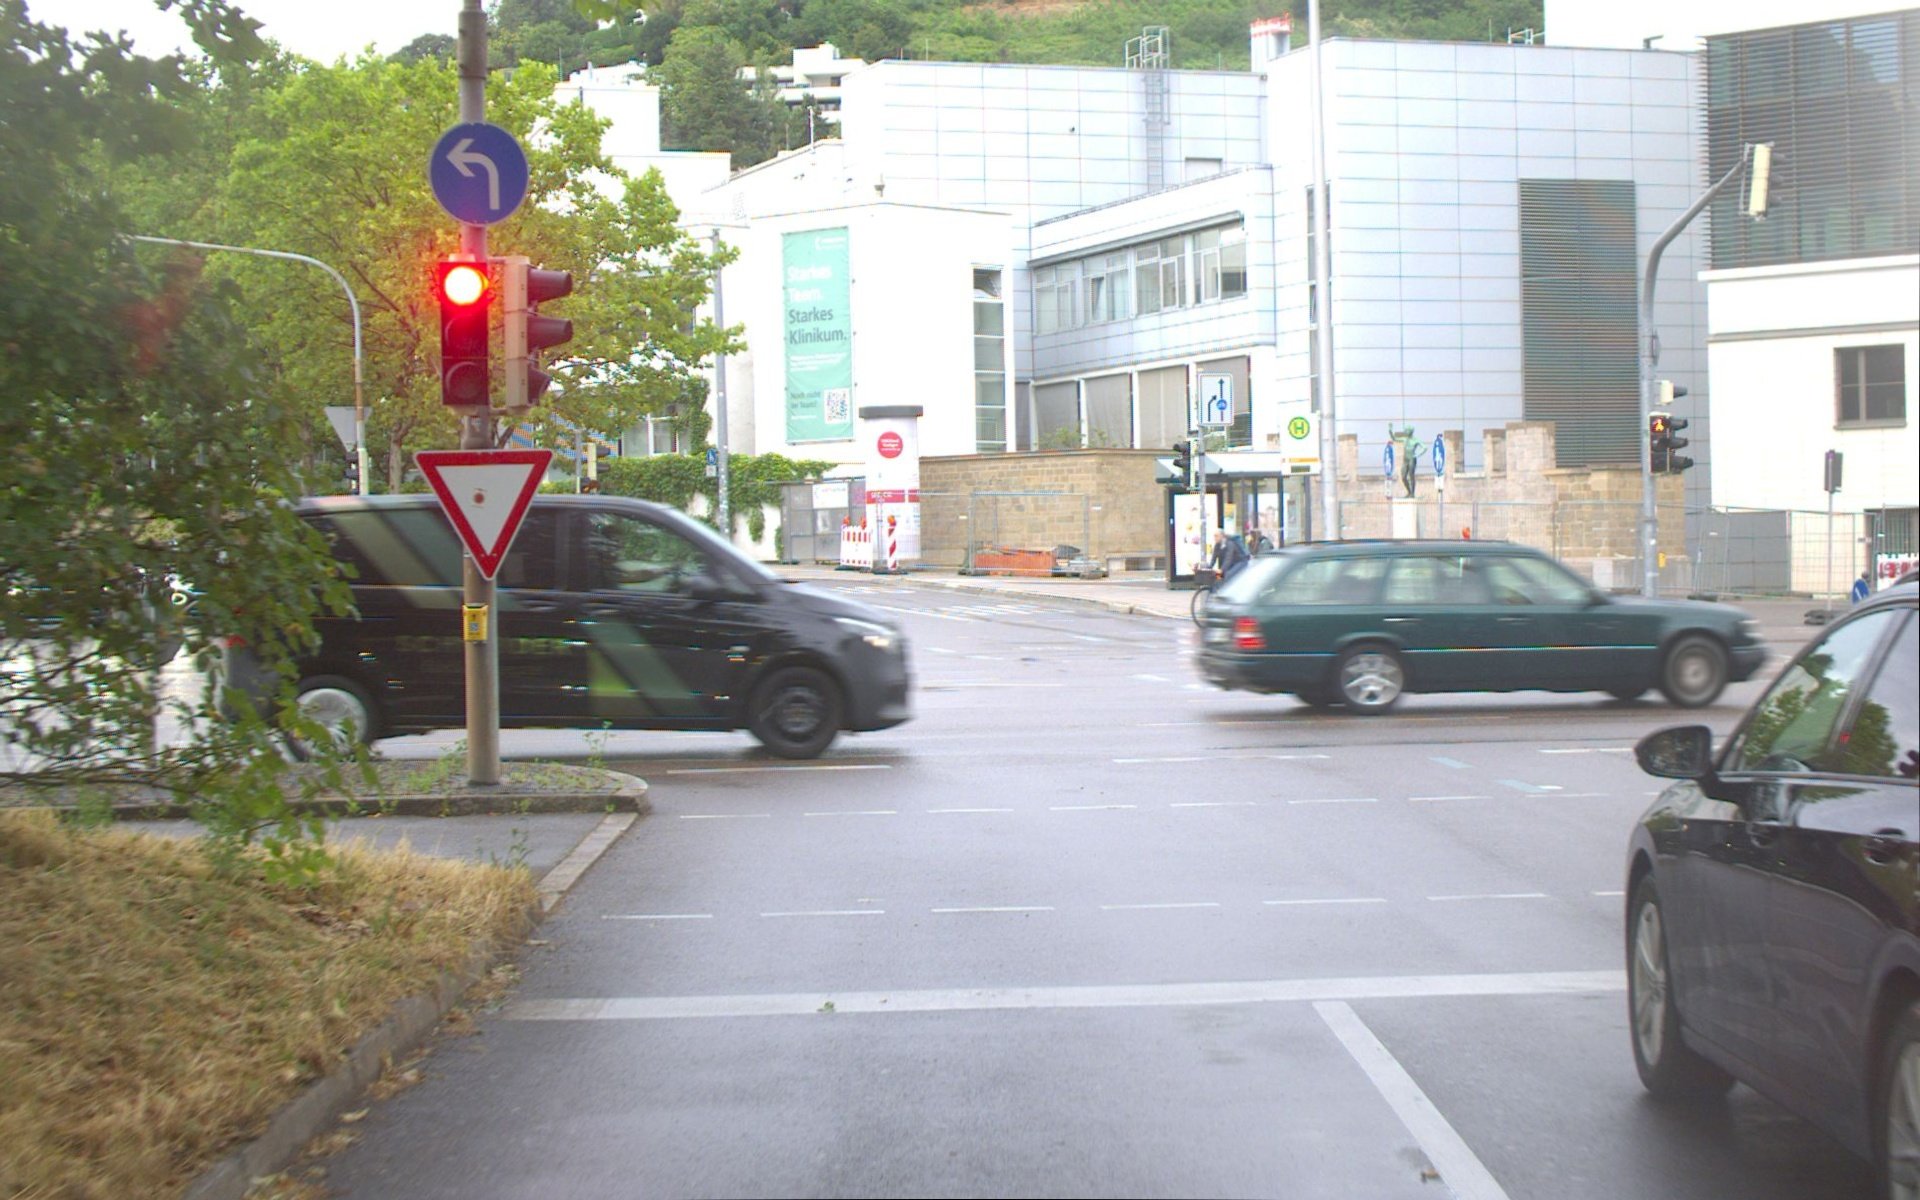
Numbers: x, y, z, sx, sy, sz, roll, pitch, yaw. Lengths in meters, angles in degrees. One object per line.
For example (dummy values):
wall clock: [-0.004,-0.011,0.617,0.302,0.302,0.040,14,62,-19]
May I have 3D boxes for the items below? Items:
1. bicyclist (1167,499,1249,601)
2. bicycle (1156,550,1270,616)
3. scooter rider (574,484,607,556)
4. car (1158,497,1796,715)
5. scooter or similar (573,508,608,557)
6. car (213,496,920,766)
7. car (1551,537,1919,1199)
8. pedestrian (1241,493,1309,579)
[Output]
bicyclist: [4.042,-0.807,56.009,1.125,1.627,0.702,1,0,-32]
bicycle: [4.125,-0.283,56.058,1.815,1.053,0.648,0,0,-32]
scooter rider: [-9.753,-2.097,90.649,0.723,1.877,0.632,1,0,-19]
car: [4.341,0.033,29.212,4.953,1.667,2.000,-1,0,-9]
scooter or similar: [-9.731,-1.773,90.603,0.591,1.234,1.314,1,0,-20]
car: [-2.777,0.181,24.345,4.770,1.803,2.001,0,1,-8]
car: [2.588,0.618,7.679,1.670,1.461,4.513,0,2,-1]
pedestrian: [6.359,-1.286,69.445,1.257,1.713,1.016,1,0,-1]
